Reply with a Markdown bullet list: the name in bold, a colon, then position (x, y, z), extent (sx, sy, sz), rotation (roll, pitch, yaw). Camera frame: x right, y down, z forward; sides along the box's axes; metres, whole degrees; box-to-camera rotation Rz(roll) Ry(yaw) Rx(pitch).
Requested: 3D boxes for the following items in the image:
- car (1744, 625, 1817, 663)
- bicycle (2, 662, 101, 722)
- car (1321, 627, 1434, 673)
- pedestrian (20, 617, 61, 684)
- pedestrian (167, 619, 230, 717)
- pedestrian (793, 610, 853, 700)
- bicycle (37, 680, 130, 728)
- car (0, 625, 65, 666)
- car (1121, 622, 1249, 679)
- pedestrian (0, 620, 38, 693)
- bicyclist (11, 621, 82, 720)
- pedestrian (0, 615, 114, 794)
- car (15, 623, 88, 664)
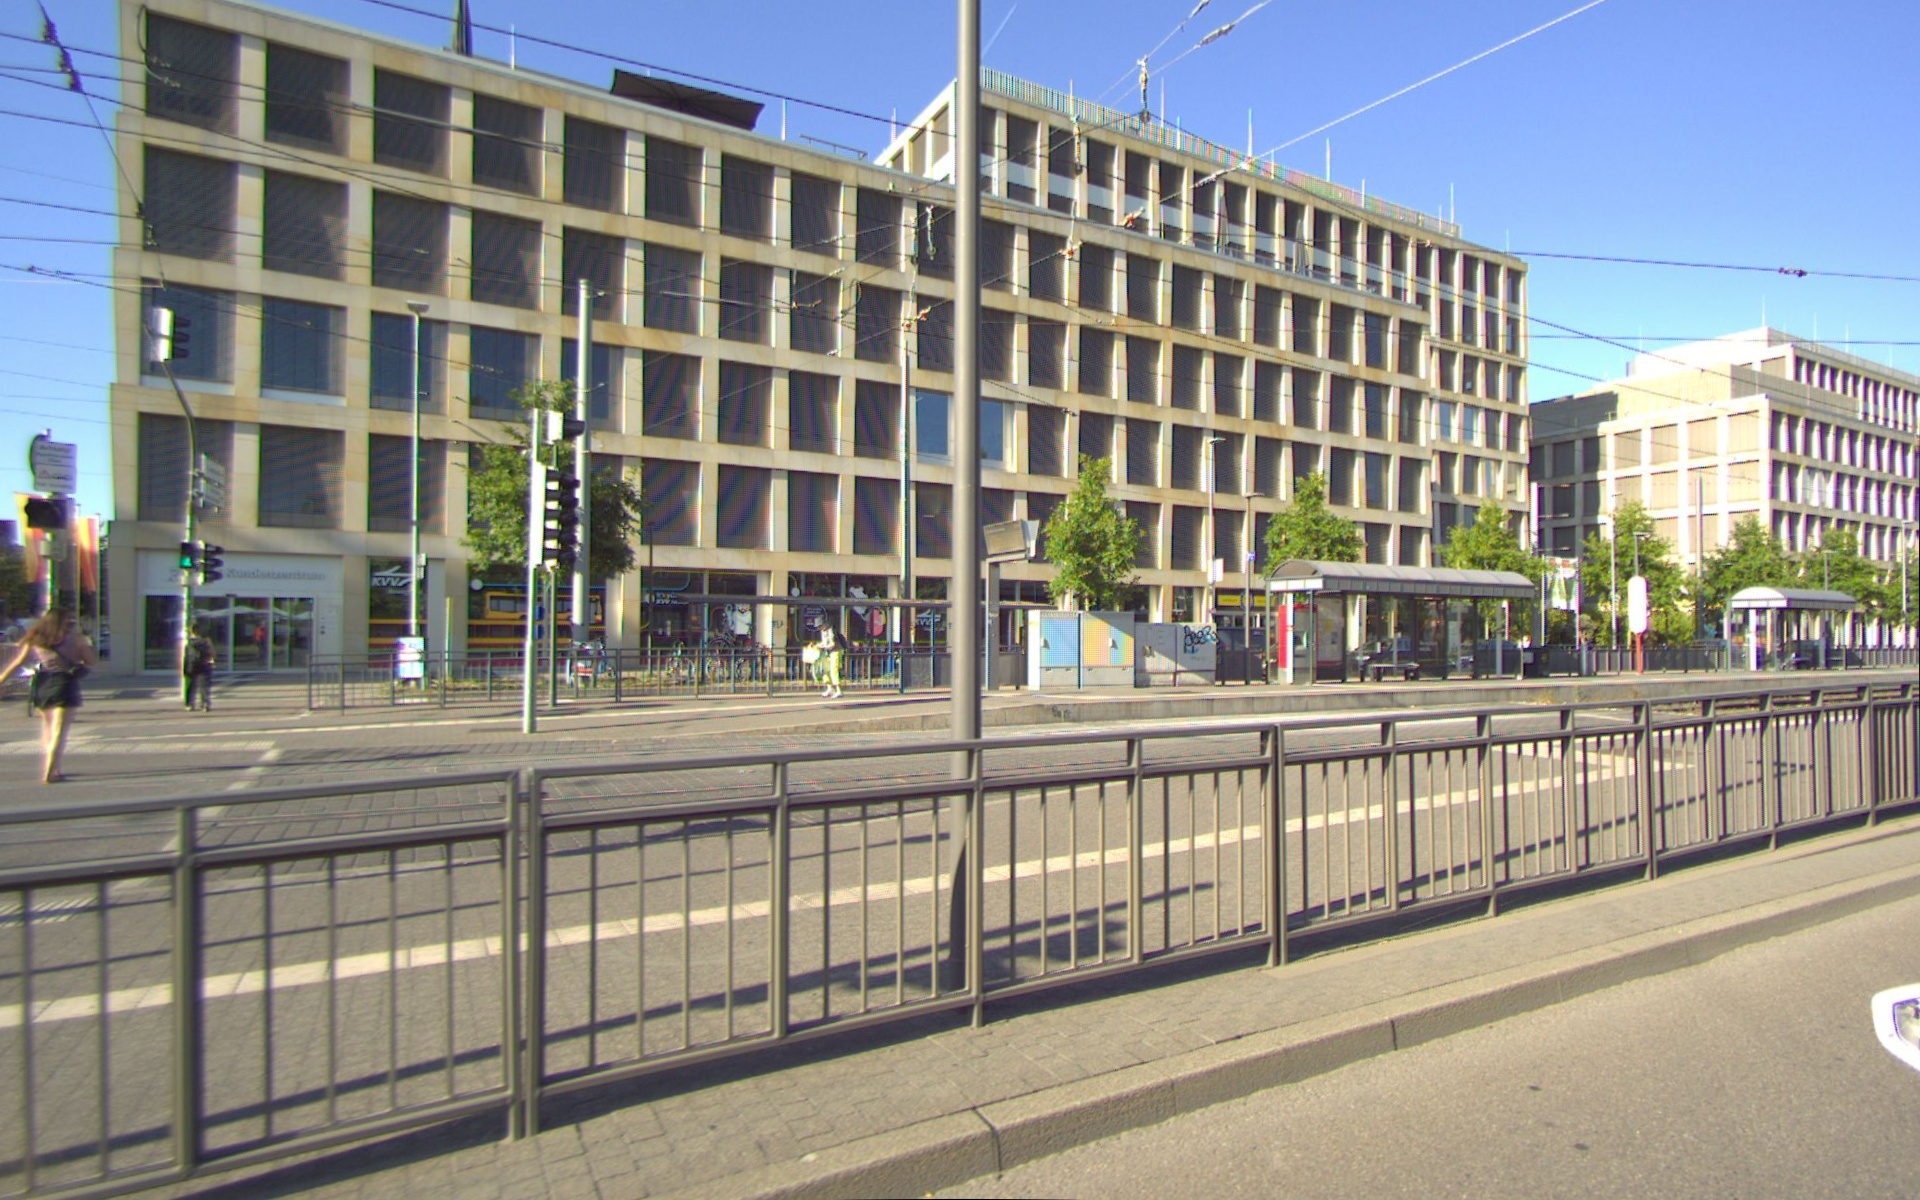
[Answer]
- **car**: position (45.733, 2.435, 55.964), extent (3.955, 2.040, 1.983), rotation (1, -2, -32)
- **bicycle**: position (-15.489, 1.544, 17.179), extent (0.598, 0.889, 1.882), rotation (1, -2, -21)
- **car**: position (15.991, 1.883, 38.480), extent (3.951, 1.684, 1.985), rotation (1, -2, -29)
- **pedestrian**: position (-23.639, 1.288, 25.831), extent (0.574, 1.704, 0.613), rotation (1, -1, -24)
- **pedestrian**: position (-13.485, 1.176, 17.780), extent (0.790, 1.666, 0.921), rotation (1, -2, -42)
- **pedestrian**: position (-2.624, 1.030, 19.198), extent (0.921, 1.666, 0.791), rotation (1, -2, -28)
- **bicycle**: position (-13.888, 1.633, 15.962), extent (0.504, 0.617, 1.719), rotation (1, -1, -20)
- **car**: position (-35.971, 1.725, 38.397), extent (1.869, 1.483, 3.967), rotation (1, -2, -31)
- **car**: position (7.536, 1.648, 33.618), extent (3.951, 1.793, 1.910), rotation (1, -2, -29)
- **pedestrian**: position (-22.219, 1.319, 23.678), extent (0.576, 1.704, 0.612), rotation (1, -2, -31)
- **bicyclist**: position (-15.427, 1.171, 16.982), extent (0.674, 1.640, 0.627), rotation (1, -1, -21)
- **pedestrian**: position (-8.961, 0.989, 9.989), extent (0.790, 1.666, 0.921), rotation (1, -2, -42)
- **car**: position (-39.000, 1.827, 43.190), extent (1.631, 1.683, 3.620), rotation (1, -2, -31)
